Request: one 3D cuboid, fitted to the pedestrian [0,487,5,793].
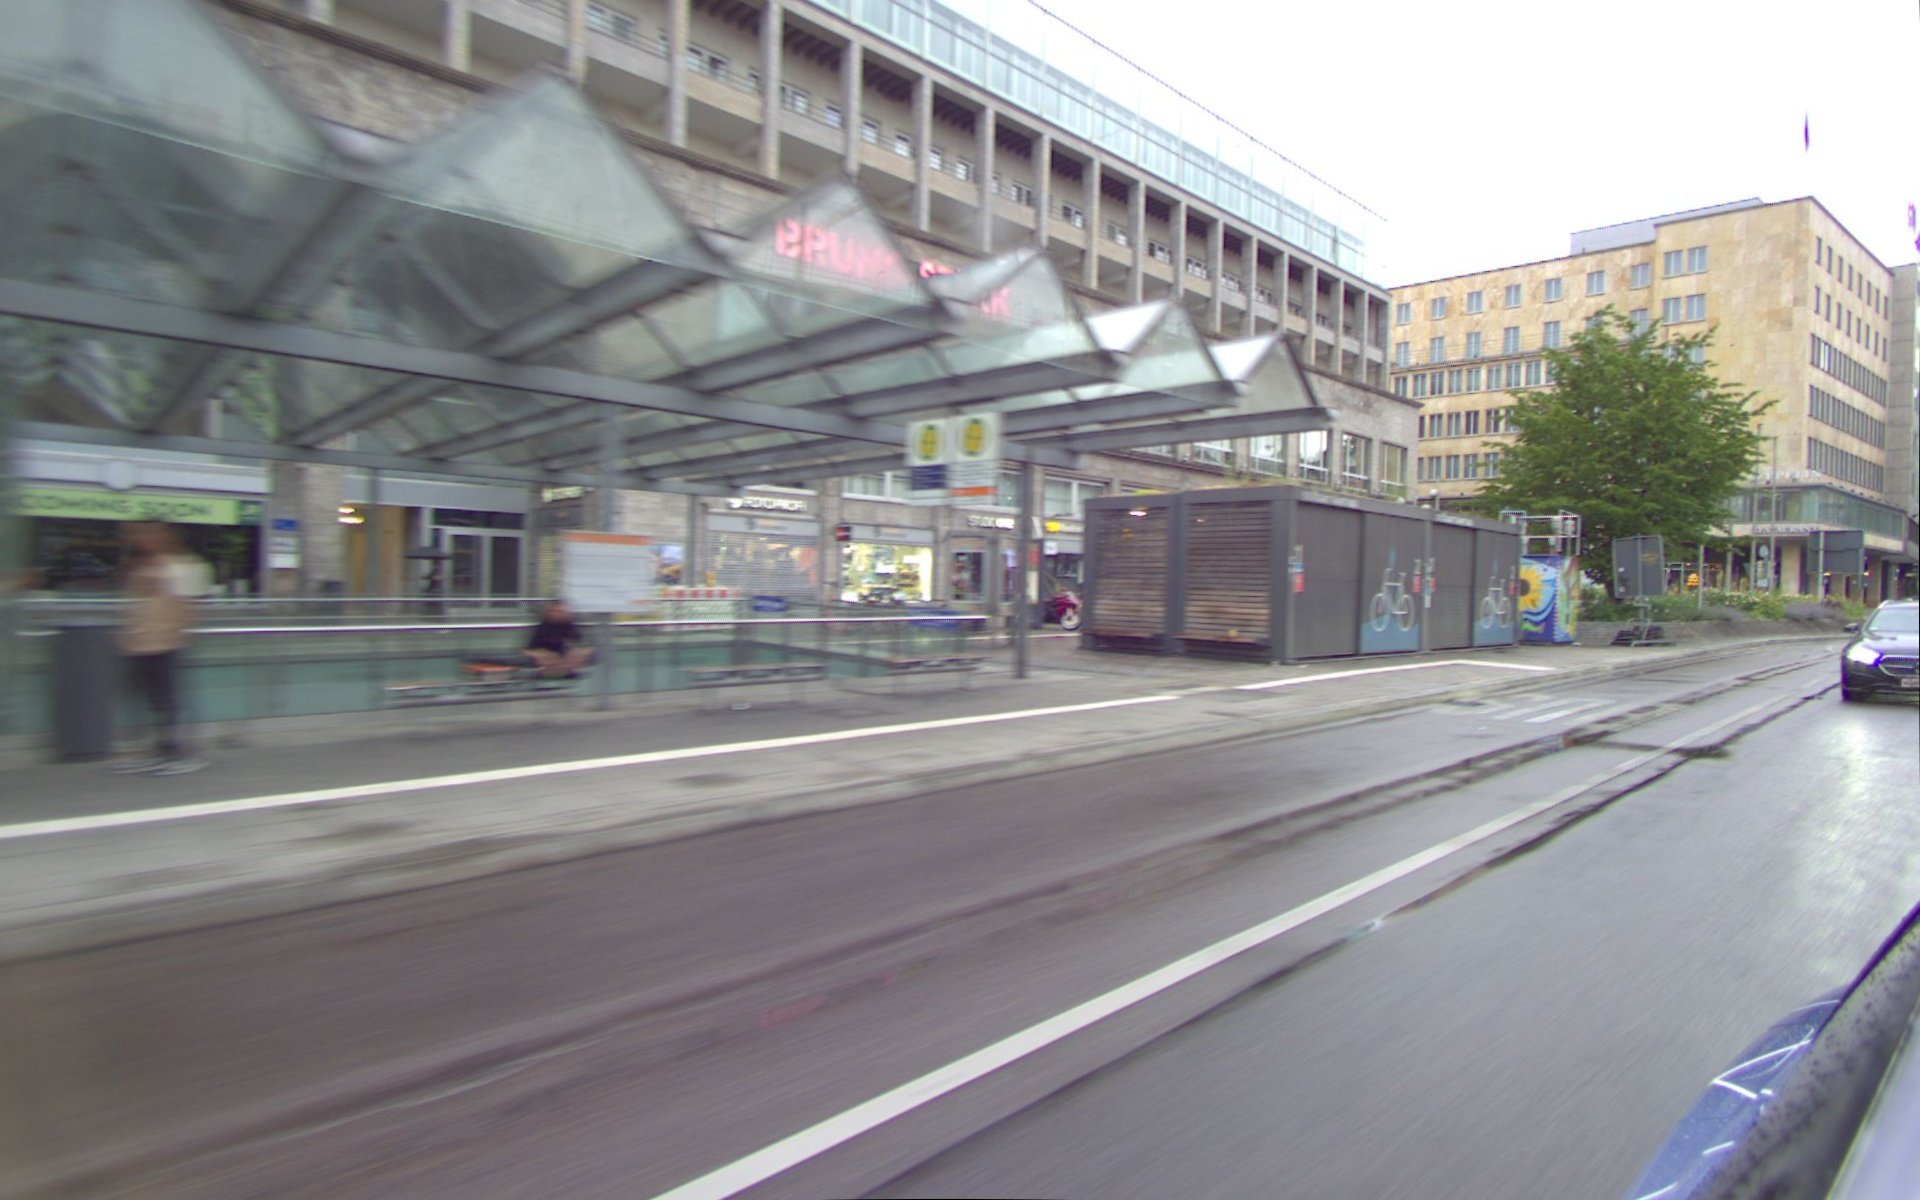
[{"bbox_3d":[-6.122,0.244,6.053,0.564,1.859,0.677,0,1,-41],"label":"pedestrian"}]

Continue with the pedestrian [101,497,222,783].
[{"bbox_3d":[-5.552,0.255,7.031,0.630,1.859,0.628,0,1,-41],"label":"pedestrian"}]

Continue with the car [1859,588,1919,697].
[{"bbox_3d":[15.076,0.567,15.265,4.620,1.482,1.820,-1,0,-43],"label":"car"}]

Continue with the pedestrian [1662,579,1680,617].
[{"bbox_3d":[34.088,-0.111,48.538,0.669,1.812,0.536,0,1,-40],"label":"pedestrian"}]

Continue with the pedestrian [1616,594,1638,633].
[{"bbox_3d":[31.067,0.635,47.123,0.823,1.773,0.698,0,1,-45],"label":"pedestrian"}]
